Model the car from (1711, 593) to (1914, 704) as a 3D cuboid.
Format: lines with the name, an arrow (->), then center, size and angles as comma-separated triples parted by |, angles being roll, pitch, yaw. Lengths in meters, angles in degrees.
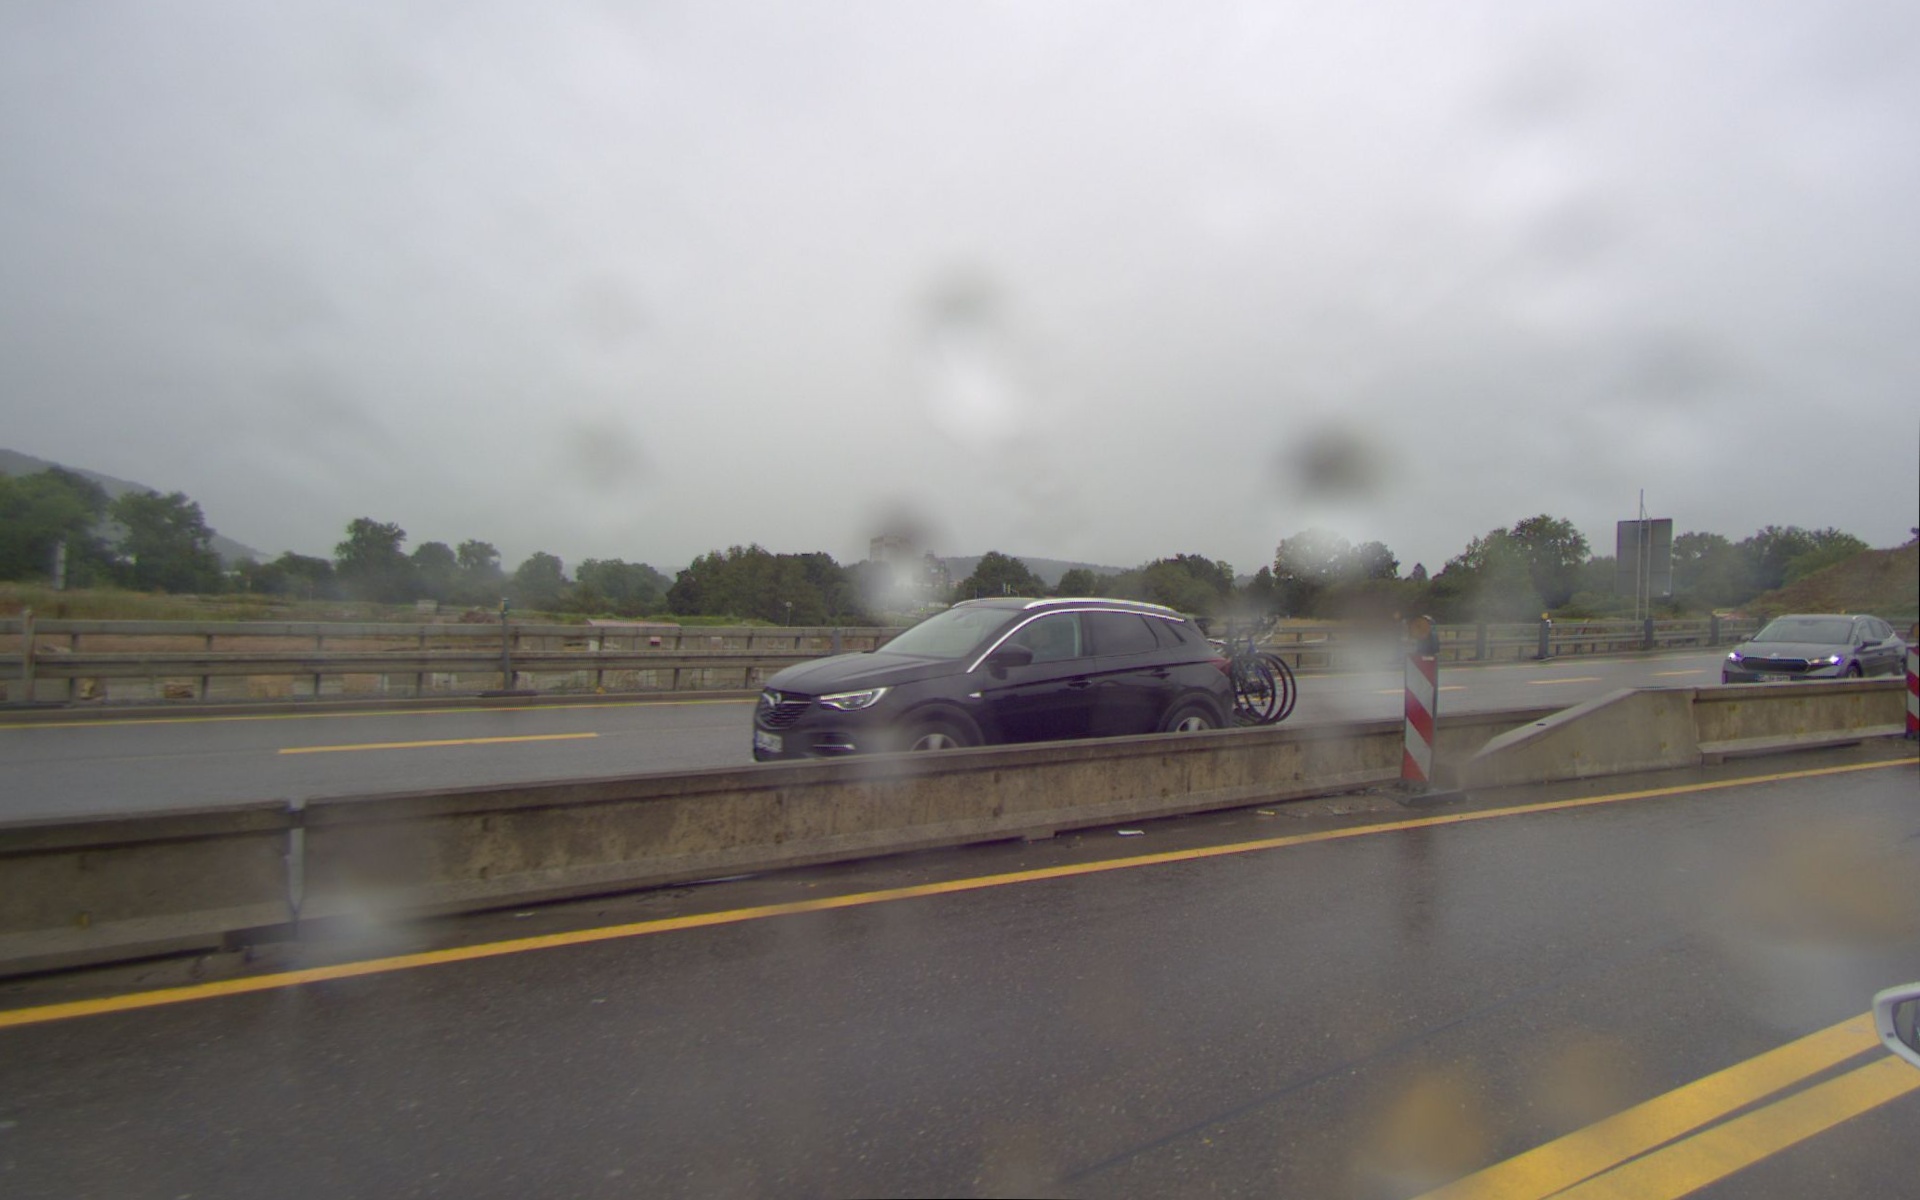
car -> 16.279, 0.948, 19.113 | 4.453, 1.833, 1.775 | 5, -2, -34

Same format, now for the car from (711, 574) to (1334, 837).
car -> 0.794, 0.754, 8.768 | 5.494, 1.707, 1.727 | 2, 0, -34
